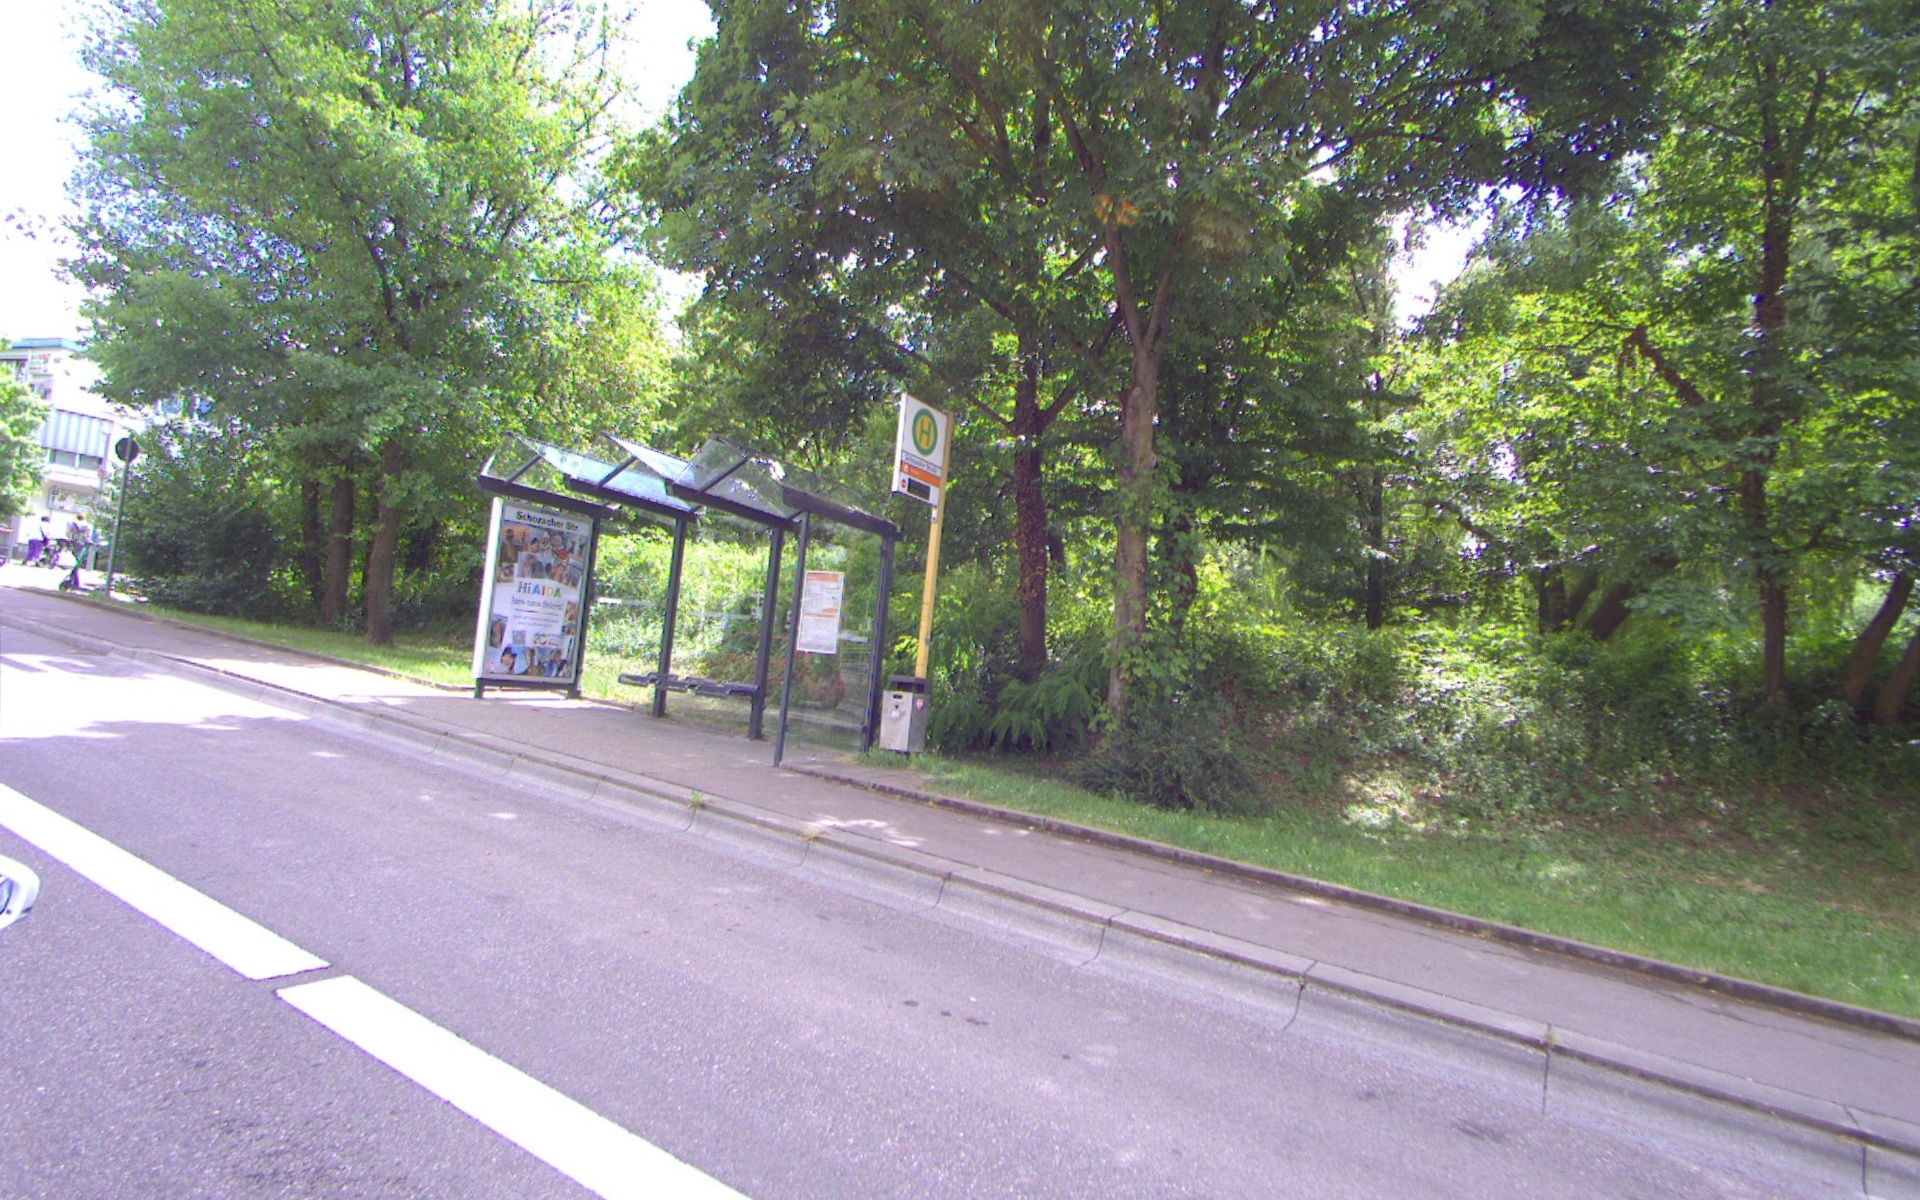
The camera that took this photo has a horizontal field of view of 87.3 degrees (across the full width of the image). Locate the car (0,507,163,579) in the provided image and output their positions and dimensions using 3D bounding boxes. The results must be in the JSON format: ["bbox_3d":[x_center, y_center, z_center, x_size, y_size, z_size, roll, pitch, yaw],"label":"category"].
[{"bbox_3d":[-33.836,-2.144,38.587,1.964,2.037,4.551,6,-2,24],"label":"car"}]

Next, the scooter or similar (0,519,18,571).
[{"bbox_3d":[-24.975,-1.476,25.661,0.546,1.286,1.153,6,-3,34],"label":"scooter or similar"}]

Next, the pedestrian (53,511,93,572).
[{"bbox_3d":[-26.558,-1.738,30.129,0.653,1.733,0.458,8,-1,-32],"label":"pedestrian"}]

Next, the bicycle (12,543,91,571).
[{"bbox_3d":[-26.075,-1.237,28.900,1.568,0.617,0.532,7,0,-21],"label":"bicycle"}]

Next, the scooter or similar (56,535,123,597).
[{"bbox_3d":[-20.228,-0.782,23.381,0.447,1.242,0.893,6,-6,32],"label":"scooter or similar"}]

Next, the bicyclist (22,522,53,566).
[{"bbox_3d":[-26.388,-1.598,28.780,0.394,1.170,0.500,7,-1,-21],"label":"bicyclist"}]
